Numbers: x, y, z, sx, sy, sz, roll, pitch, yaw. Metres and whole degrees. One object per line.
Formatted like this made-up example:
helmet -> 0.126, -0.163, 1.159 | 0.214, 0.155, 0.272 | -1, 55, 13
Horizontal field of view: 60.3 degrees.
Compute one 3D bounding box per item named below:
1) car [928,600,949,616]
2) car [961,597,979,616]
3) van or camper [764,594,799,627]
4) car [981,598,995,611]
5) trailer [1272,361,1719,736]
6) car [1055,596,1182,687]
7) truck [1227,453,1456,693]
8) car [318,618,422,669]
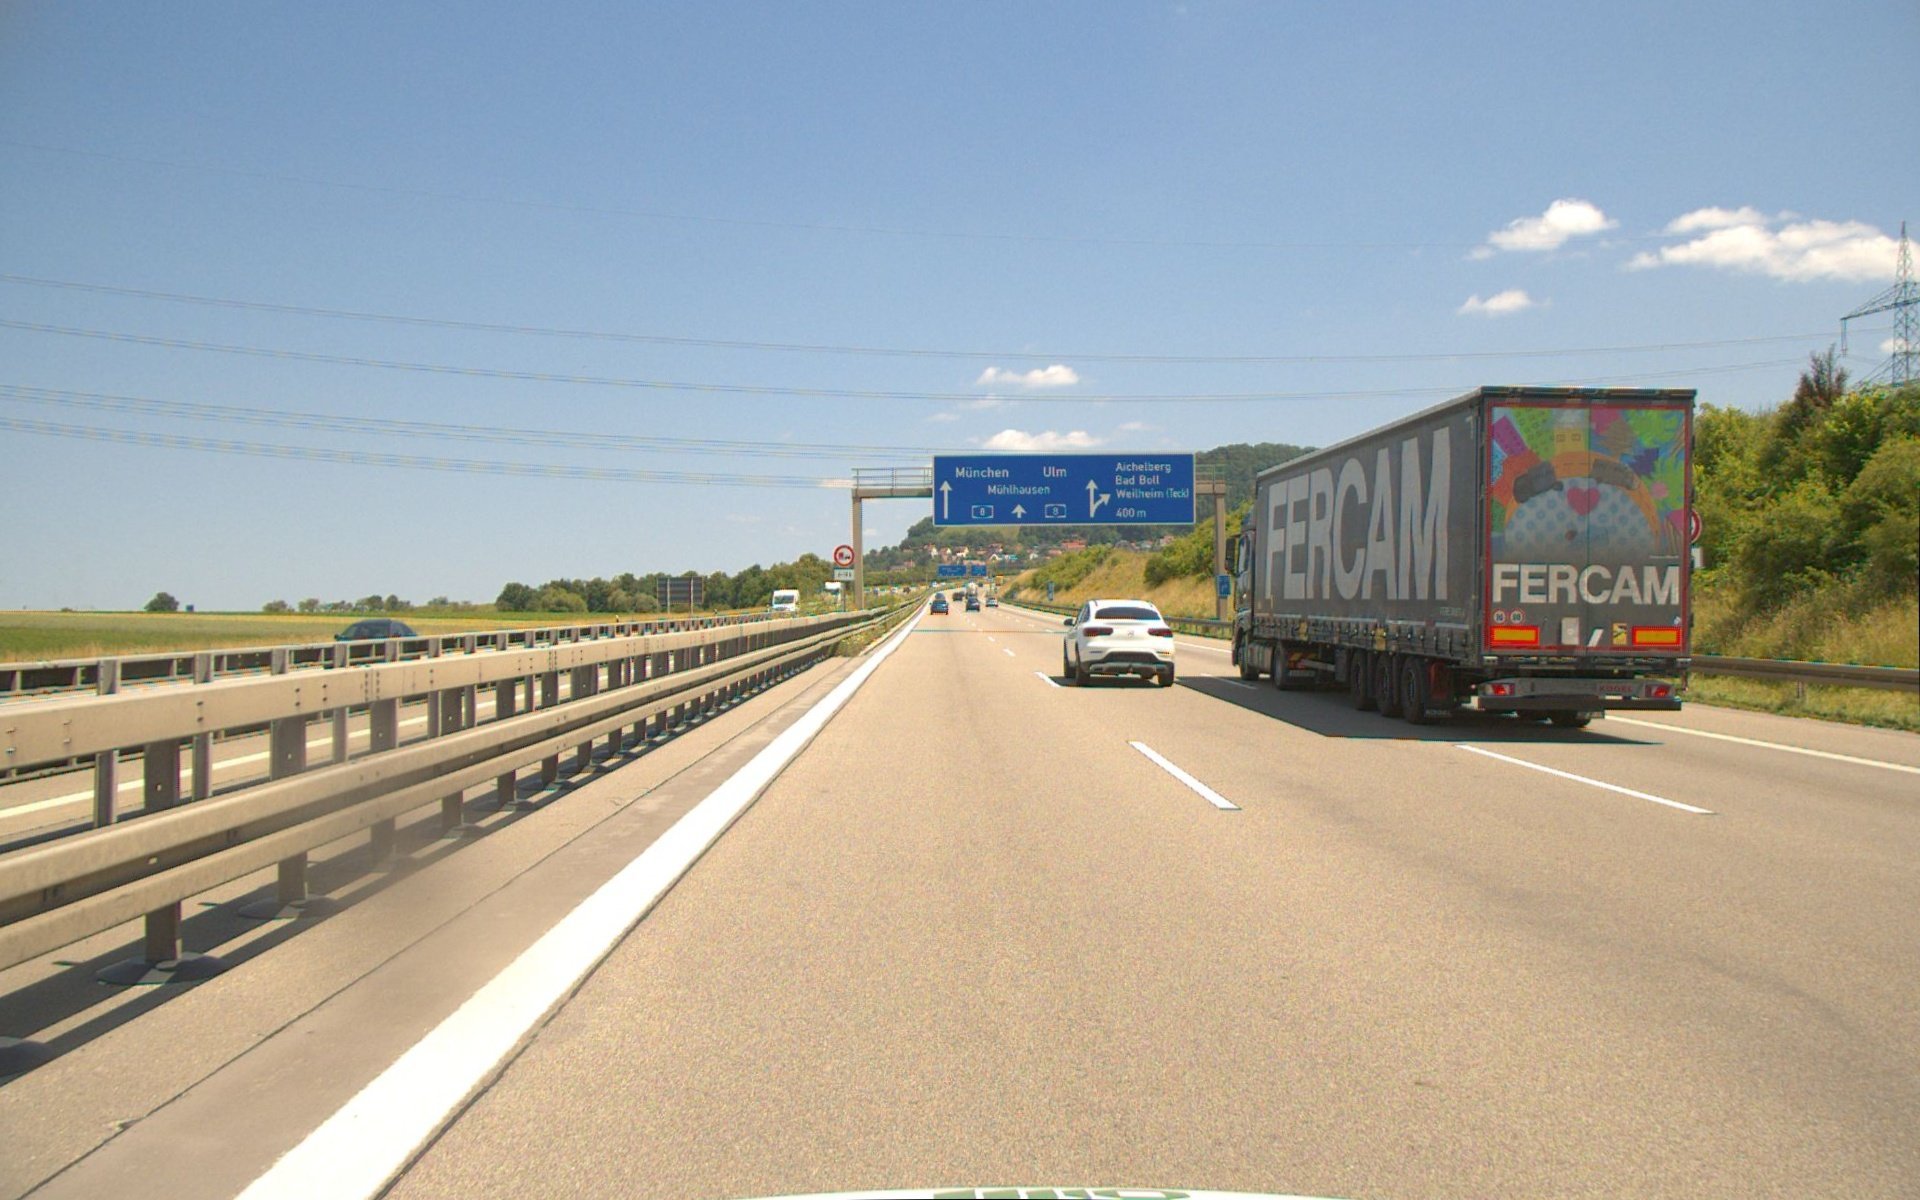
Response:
car -> -2.022, 0.785, 155.630 | 1.953, 1.413, 3.999 | 1, -1, 0
car -> 1.122, 0.721, 188.423 | 1.953, 2.049, 3.999 | 1, -1, 0
van or camper -> -14.534, 0.852, 134.973 | 2.182, 2.552, 6.595 | 1, -1, -1
car -> 4.172, 0.645, 247.349 | 1.953, 1.850, 4.000 | -1, 0, 0
trailer -> 7.226, -0.538, 24.743 | 2.670, 4.228, 11.805 | 1, -1, -1
car -> 3.042, 0.777, 32.727 | 1.875, 1.608, 5.229 | 1, -1, -1
truck -> 7.119, -0.436, 31.837 | 2.696, 4.091, 6.787 | 1, -1, -1
car -> -16.782, 1.214, 47.235 | 1.541, 1.329, 4.041 | -1, 0, -1
